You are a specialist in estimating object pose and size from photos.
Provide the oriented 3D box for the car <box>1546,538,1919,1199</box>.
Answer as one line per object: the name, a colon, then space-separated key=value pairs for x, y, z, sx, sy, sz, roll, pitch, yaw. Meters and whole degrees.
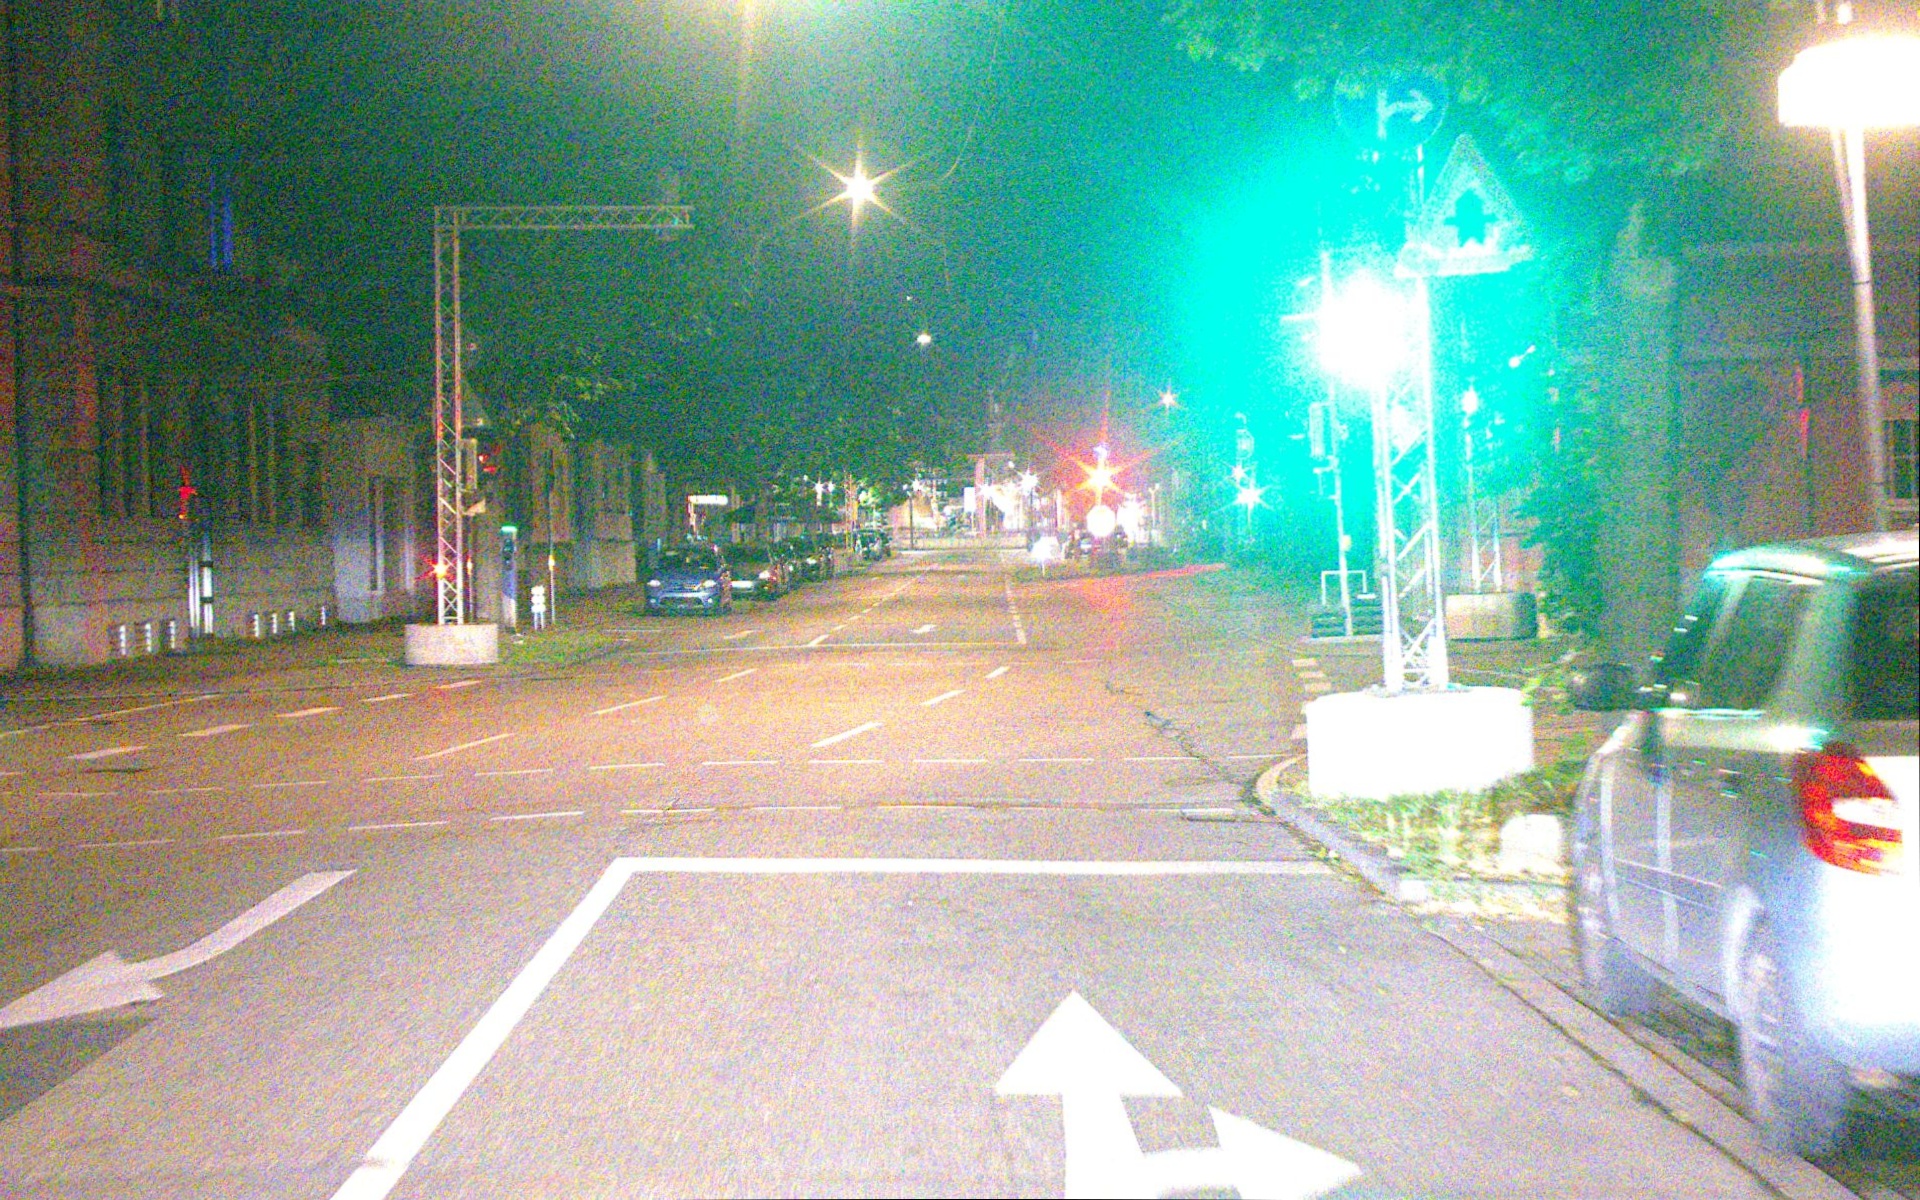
car: x=2.676 y=0.567 z=9.498 sx=1.587 sy=1.456 sz=3.797 roll=-1 pitch=1 yaw=2

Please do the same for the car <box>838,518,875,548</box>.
car: x=-5.180 y=-3.339 z=171.779 sx=1.651 sy=1.426 sz=4.000 roll=-2 pitch=1 yaw=1

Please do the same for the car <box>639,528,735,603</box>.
car: x=-5.795 y=-0.710 z=73.311 sx=1.714 sy=1.489 sz=3.989 roll=-1 pitch=-1 yaw=0

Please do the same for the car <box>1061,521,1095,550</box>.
car: x=5.993 y=-3.278 z=174.241 sx=1.651 sy=1.426 sz=4.000 roll=-2 pitch=1 yaw=2

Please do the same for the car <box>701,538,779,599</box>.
car: x=-5.693 y=-0.837 z=89.436 sx=1.768 sy=1.480 sz=4.768 roll=-2 pitch=1 yaw=-1

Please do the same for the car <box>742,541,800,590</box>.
car: x=-5.637 y=-1.053 z=102.953 sx=1.622 sy=1.378 sz=4.452 roll=-2 pitch=1 yaw=-2

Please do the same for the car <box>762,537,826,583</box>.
car: x=-5.594 y=-1.359 z=116.113 sx=1.899 sy=1.466 sz=4.452 roll=0 pitch=2 yaw=1
